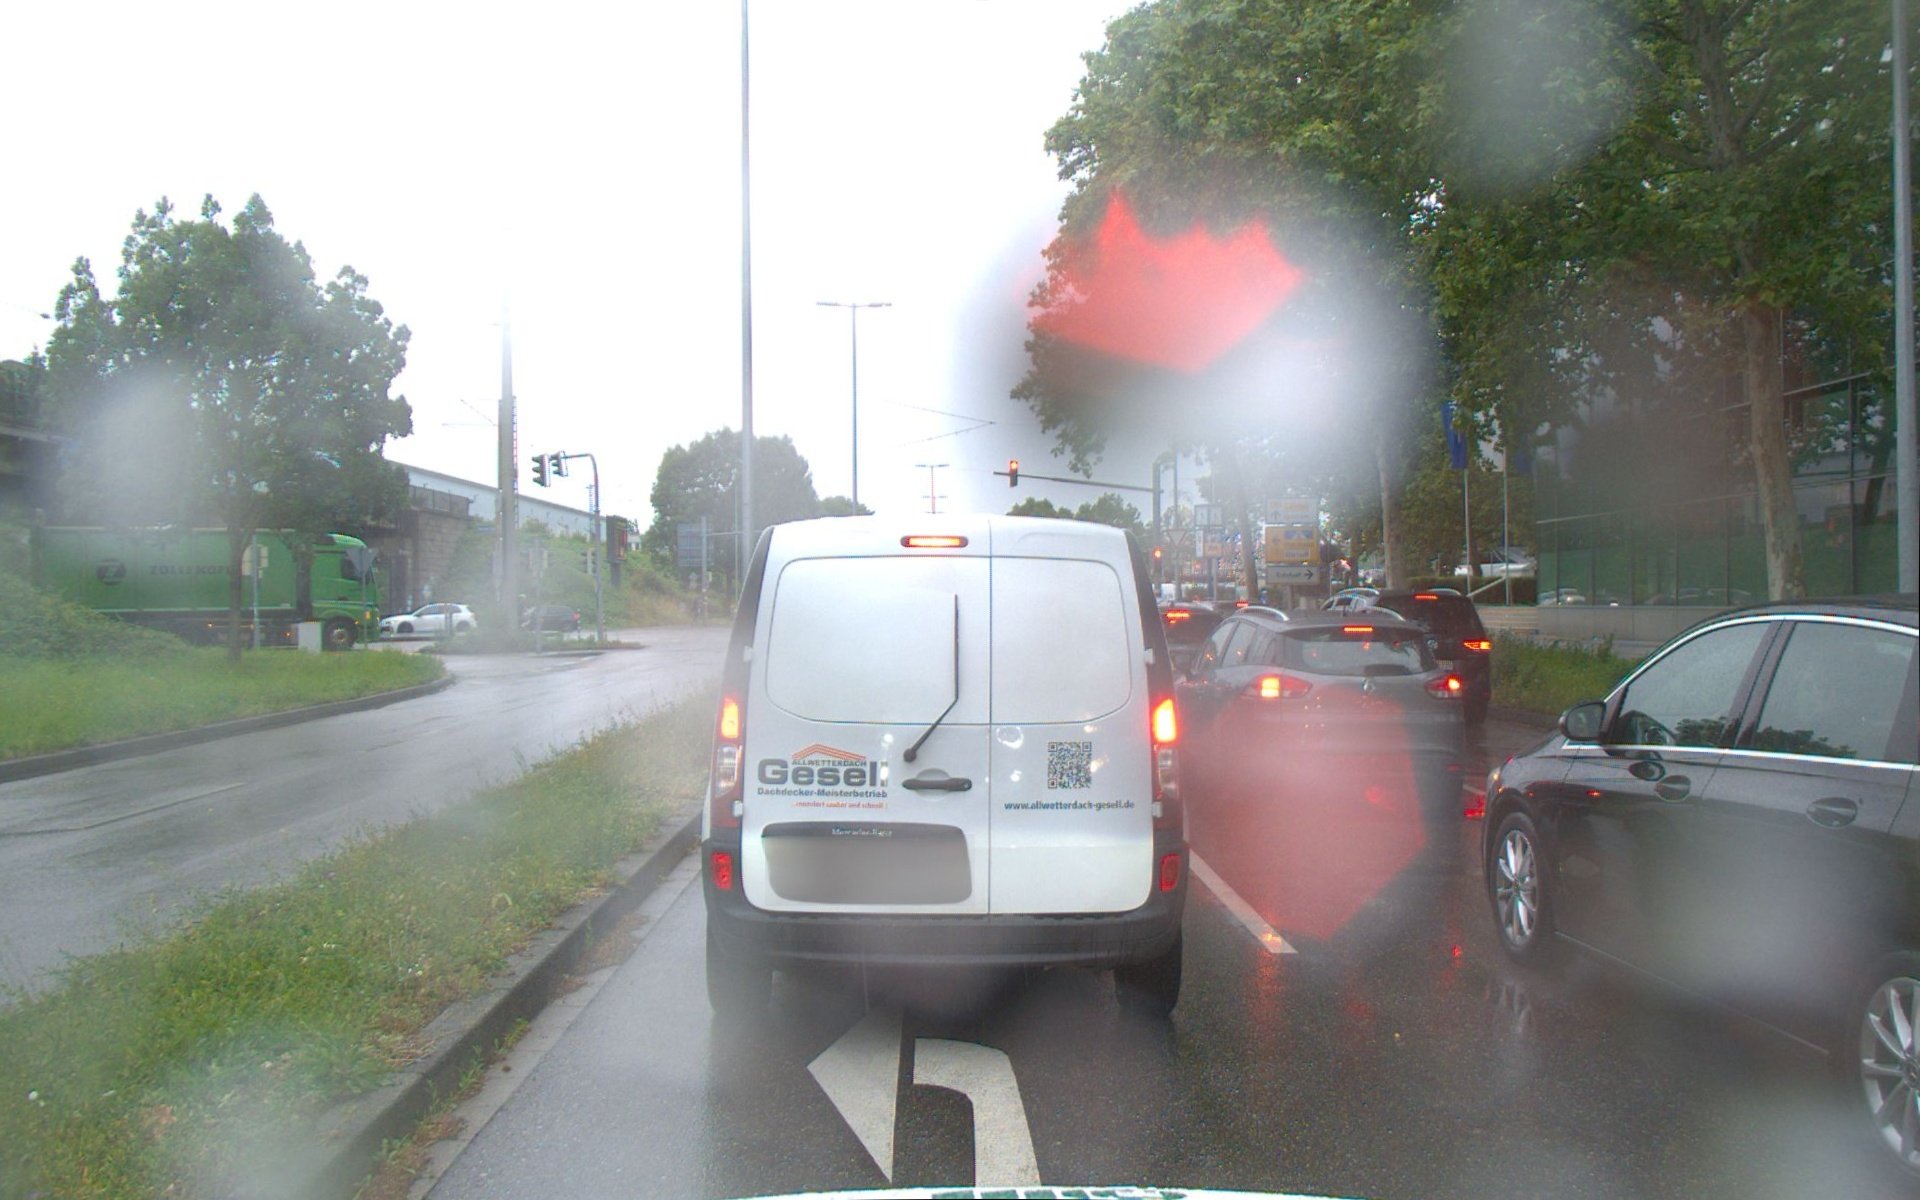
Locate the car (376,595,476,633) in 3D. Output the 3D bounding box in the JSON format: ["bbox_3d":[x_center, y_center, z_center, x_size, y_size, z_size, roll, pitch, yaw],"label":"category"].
[{"bbox_3d":[-23.842,0.614,73.859,3.953,1.613,1.697,-1,0,-35],"label":"car"}]

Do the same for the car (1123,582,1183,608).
[{"bbox_3d":[13.622,-0.354,116.882,3.904,1.743,1.773,0,-2,19],"label":"car"}]

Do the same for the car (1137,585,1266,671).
[{"bbox_3d":[4.686,0.533,32.597,1.802,1.563,4.110,1,0,-2],"label":"car"}]

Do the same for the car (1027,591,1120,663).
[{"bbox_3d":[2.411,0.543,35.859,1.677,1.470,3.999,0,0,-1],"label":"car"}]

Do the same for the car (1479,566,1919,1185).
[{"bbox_3d":[3.234,0.686,5.402,1.674,1.577,3.998,0,1,-3],"label":"car"}]

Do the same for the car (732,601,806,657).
[{"bbox_3d":[-5.815,0.856,50.779,1.789,1.596,3.999,-2,0,-1],"label":"car"}]

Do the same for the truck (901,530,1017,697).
[{"bbox_3d":[-0.089,0.216,27.024,1.721,2.509,3.998,0,0,-3],"label":"truck"}]

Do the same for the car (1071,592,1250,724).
[{"bbox_3d":[2.391,0.643,20.605,1.677,1.470,3.999,0,0,-1],"label":"car"}]

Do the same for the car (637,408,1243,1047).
[{"bbox_3d":[-0.137,0.423,7.354,1.953,2.049,3.998,0,0,-3],"label":"car"}]

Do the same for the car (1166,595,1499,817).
[{"bbox_3d":[2.752,0.705,13.100,1.677,1.470,3.999,0,0,-1],"label":"car"}]

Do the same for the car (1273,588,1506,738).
[{"bbox_3d":[5.455,0.756,21.562,1.819,1.756,4.188,0,0,-2],"label":"car"}]

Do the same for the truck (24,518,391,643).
[{"bbox_3d":[-23.160,-0.457,51.429,10.037,3.512,2.622,2,-2,-38],"label":"truck"}]
